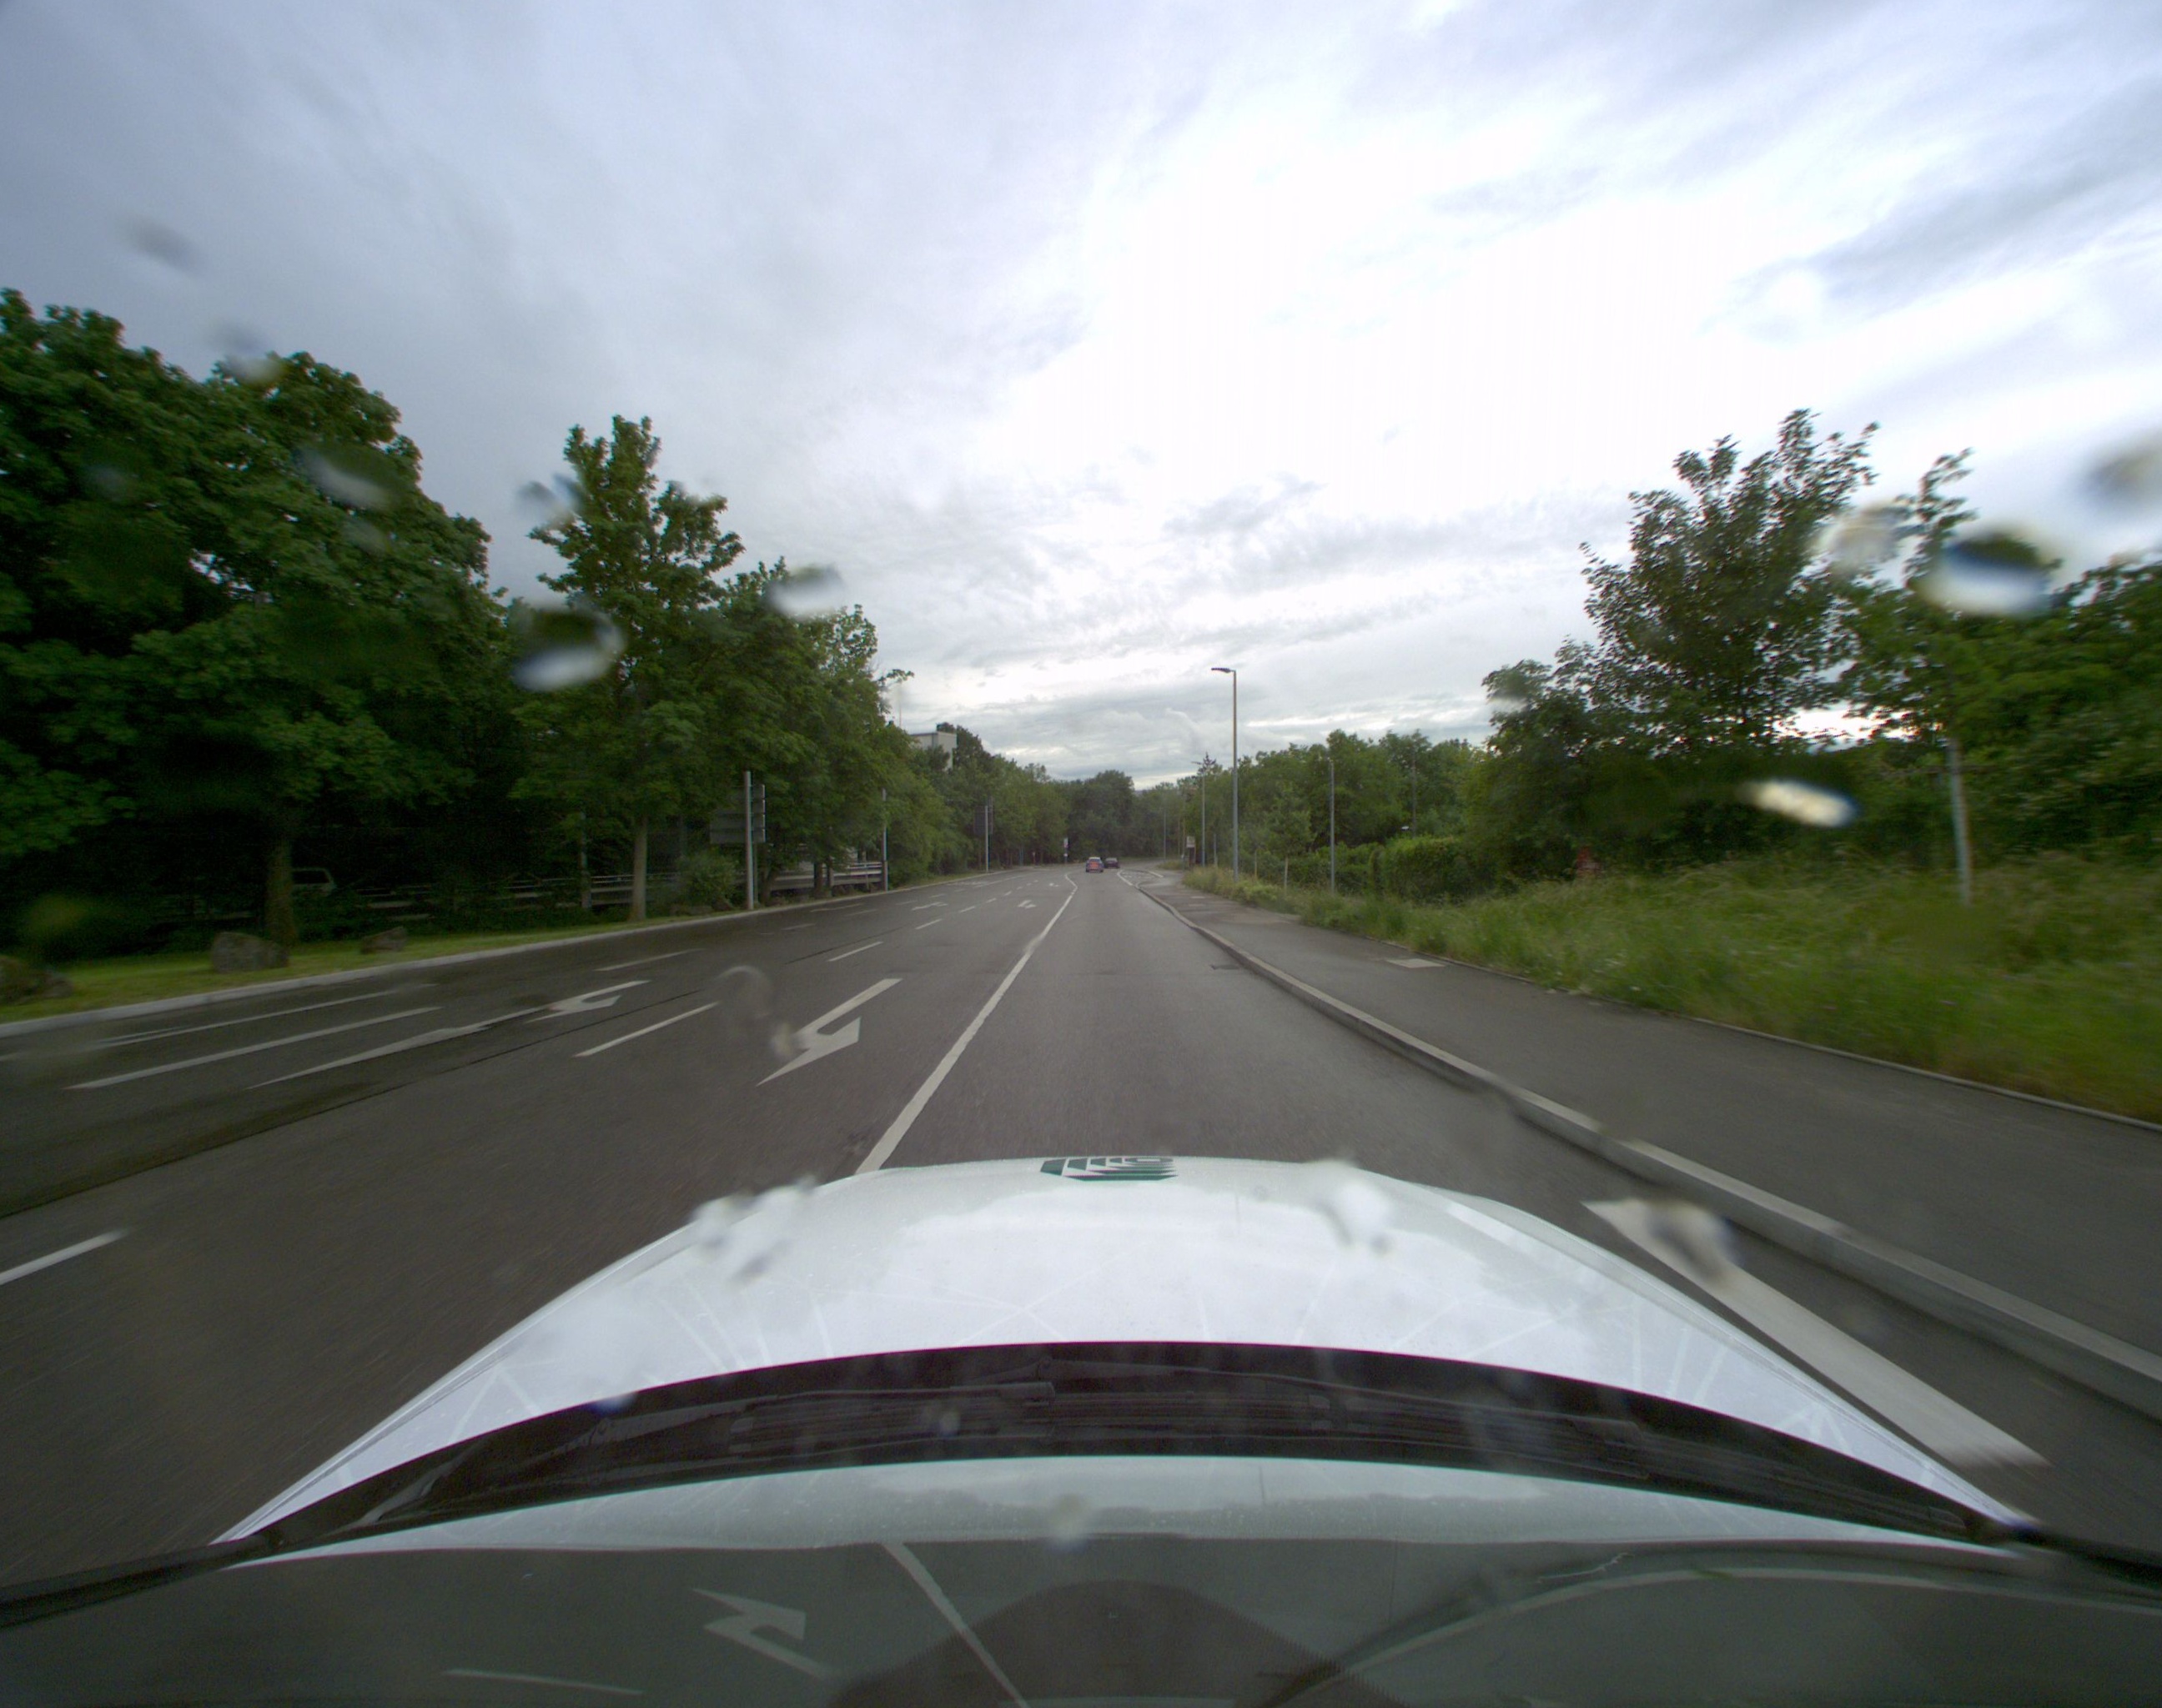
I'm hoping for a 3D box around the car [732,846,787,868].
[{"bbox_3d":[-22.468,0.200,56.934,3.432,1.519,1.595,-1,0,22],"label":"car"}]

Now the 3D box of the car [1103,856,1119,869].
[{"bbox_3d":[3.926,1.131,105.992,1.918,1.486,3.805,-1,2,5],"label":"car"}]

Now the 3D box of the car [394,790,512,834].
[{"bbox_3d":[-23.046,-1.539,29.883,3.950,1.519,2.012,2,2,29],"label":"car"}]

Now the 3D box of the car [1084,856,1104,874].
[{"bbox_3d":[1.410,1.138,86.050,1.985,1.689,4.003,-1,2,2],"label":"car"}]

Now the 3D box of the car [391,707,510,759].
[{"bbox_3d":[-23.012,-4.360,29.721,3.950,1.519,2.012,2,2,29],"label":"car"}]

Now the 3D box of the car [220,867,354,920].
[{"bbox_3d":[-25.638,1.255,26.282,3.949,1.519,2.012,-2,0,29],"label":"car"}]

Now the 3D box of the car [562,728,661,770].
[{"bbox_3d":[-20.648,-4.580,35.796,3.950,1.519,2.012,2,2,29],"label":"car"}]

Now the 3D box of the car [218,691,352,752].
[{"bbox_3d":[-25.465,-4.180,26.058,3.950,1.519,2.012,2,2,29],"label":"car"}]

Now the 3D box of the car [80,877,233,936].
[{"bbox_3d":[-26.780,1.484,23.583,3.949,1.519,2.012,-2,0,27],"label":"car"}]

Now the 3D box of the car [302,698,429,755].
[{"bbox_3d":[-24.335,-4.267,27.697,3.950,1.519,2.012,2,2,29],"label":"car"}]

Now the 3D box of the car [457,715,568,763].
[{"bbox_3d":[-22.307,-4.440,31.932,3.950,1.519,2.012,2,2,29],"label":"car"}]
